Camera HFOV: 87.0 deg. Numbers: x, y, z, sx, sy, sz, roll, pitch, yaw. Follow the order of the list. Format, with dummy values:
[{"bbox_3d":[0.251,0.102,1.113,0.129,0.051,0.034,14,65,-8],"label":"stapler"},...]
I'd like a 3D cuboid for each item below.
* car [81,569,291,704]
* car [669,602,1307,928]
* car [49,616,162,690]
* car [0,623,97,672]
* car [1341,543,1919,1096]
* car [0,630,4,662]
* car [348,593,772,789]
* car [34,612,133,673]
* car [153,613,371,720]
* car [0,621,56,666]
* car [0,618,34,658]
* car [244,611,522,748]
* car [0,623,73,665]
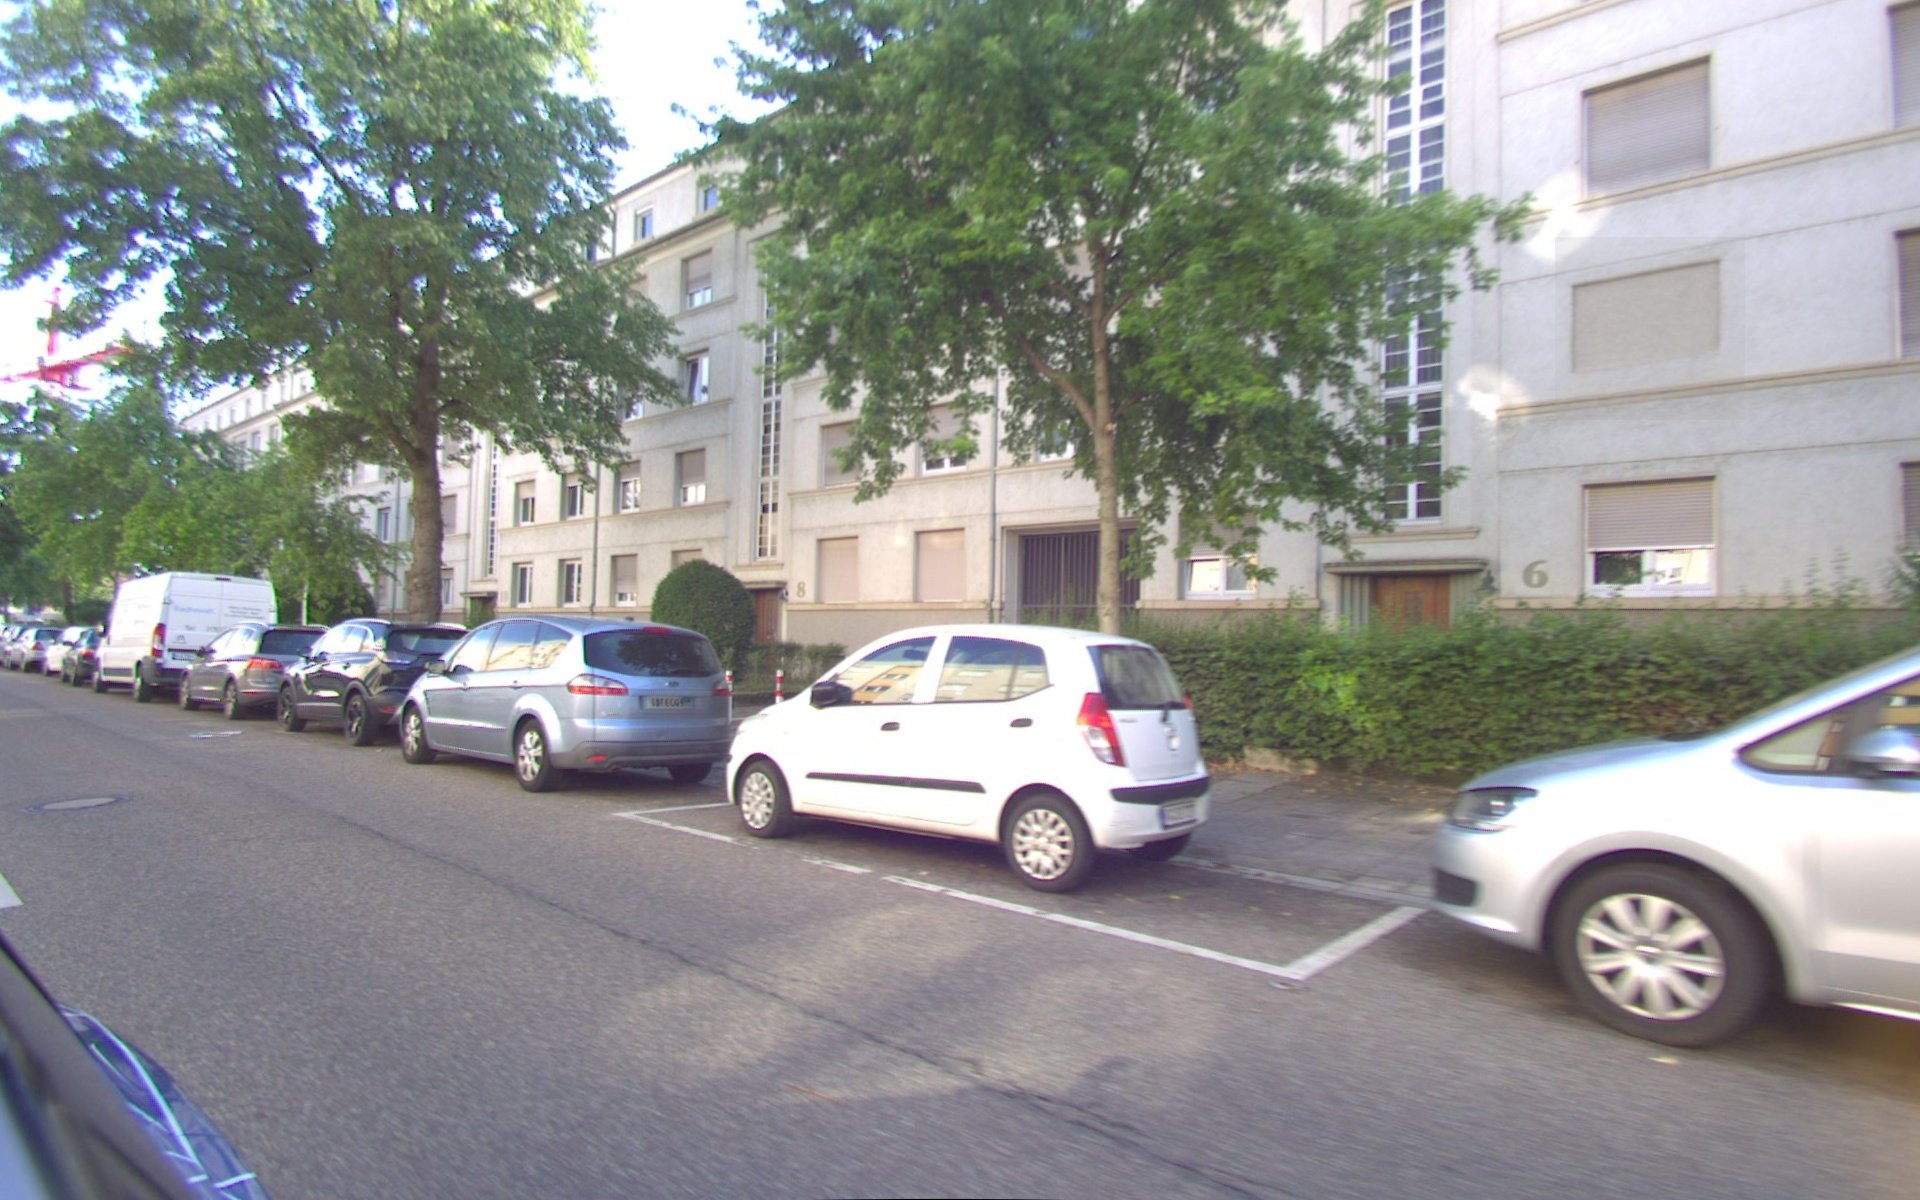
[{"bbox_3d":[-16.538,0.689,21.468,6.162,2.464,2.333,0,-1,41],"label":"car"},{"bbox_3d":[0.005,0.879,6.964,4.099,1.570,1.851,0,-5,41],"label":"car"},{"bbox_3d":[-21.573,1.270,25.517,3.819,1.586,1.689,1,2,43],"label":"car"},{"bbox_3d":[-29.739,1.496,32.826,4.649,1.365,1.855,0,1,39],"label":"car"},{"bbox_3d":[4.105,0.711,3.360,4.971,1.690,1.896,0,-3,41],"label":"car"},{"bbox_3d":[-46.105,2.098,47.014,4.799,1.445,1.855,0,-2,39],"label":"car"},{"bbox_3d":[-4.335,0.896,10.498,5.053,1.570,1.851,-2,-8,41],"label":"car"},{"bbox_3d":[-25.688,1.252,29.641,3.259,1.585,1.690,-3,1,41],"label":"car"},{"bbox_3d":[-11.972,1.077,17.265,4.343,1.570,1.937,0,-4,41],"label":"car"},{"bbox_3d":[-36.243,1.638,38.715,3.995,1.564,1.855,0,0,38],"label":"car"},{"bbox_3d":[-40.529,1.581,42.360,4.467,1.564,1.984,0,-1,39],"label":"car"},{"bbox_3d":[-8.023,1.037,13.916,4.363,1.570,1.851,0,-6,41],"label":"car"},{"bbox_3d":[-33.359,1.537,36.160,3.996,1.366,1.855,0,-1,39],"label":"car"}]
